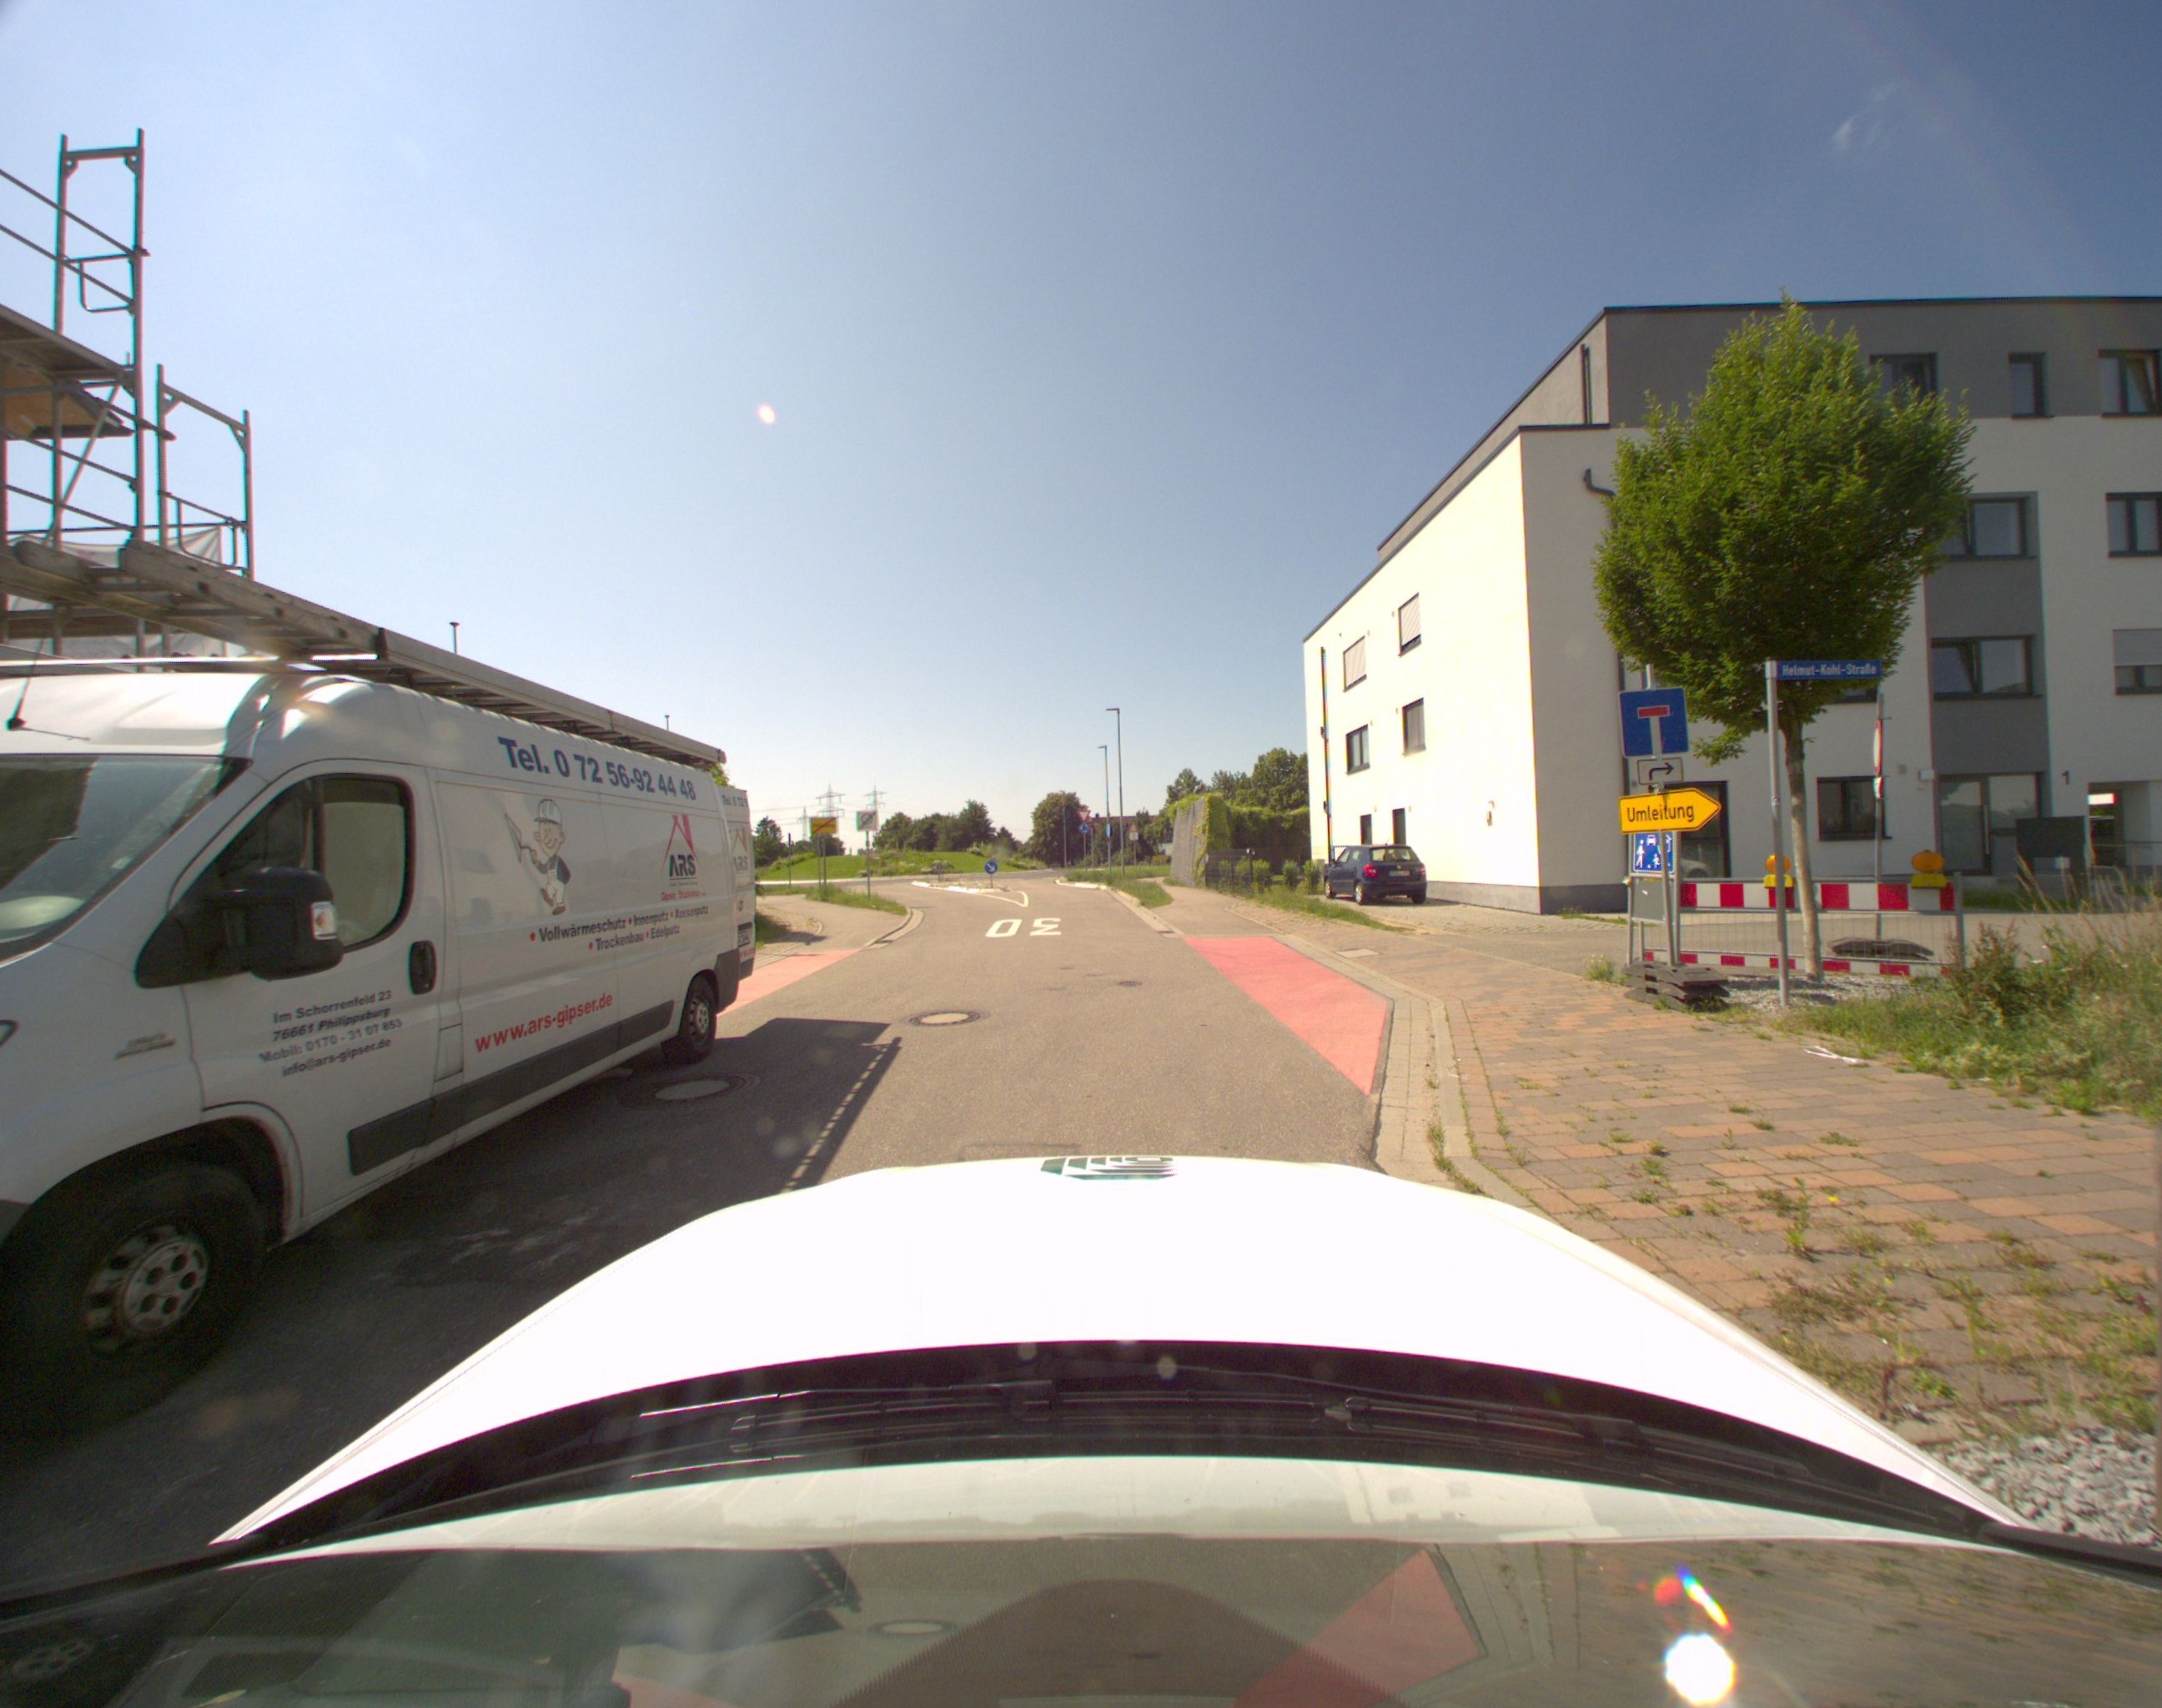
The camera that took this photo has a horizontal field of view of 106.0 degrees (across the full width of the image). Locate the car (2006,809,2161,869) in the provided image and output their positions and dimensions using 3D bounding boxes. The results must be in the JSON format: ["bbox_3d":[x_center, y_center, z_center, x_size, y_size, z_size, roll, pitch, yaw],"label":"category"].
[{"bbox_3d":[28.159,-0.384,22.128,1.870,1.503,3.679,-2,-1,1],"label":"car"}]

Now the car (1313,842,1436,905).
[{"bbox_3d":[7.588,0.456,21.474,1.672,1.469,4.114,-1,0,-1],"label":"car"}]

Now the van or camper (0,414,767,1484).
[{"bbox_3d":[-3.908,0.287,4.435,2.269,2.553,6.356,-2,-1,-4],"label":"van or camper"}]

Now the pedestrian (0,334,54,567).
[{"bbox_3d":[-8.427,-3.104,6.193,0.566,1.500,0.740,-1,-3,-35],"label":"pedestrian"}]
